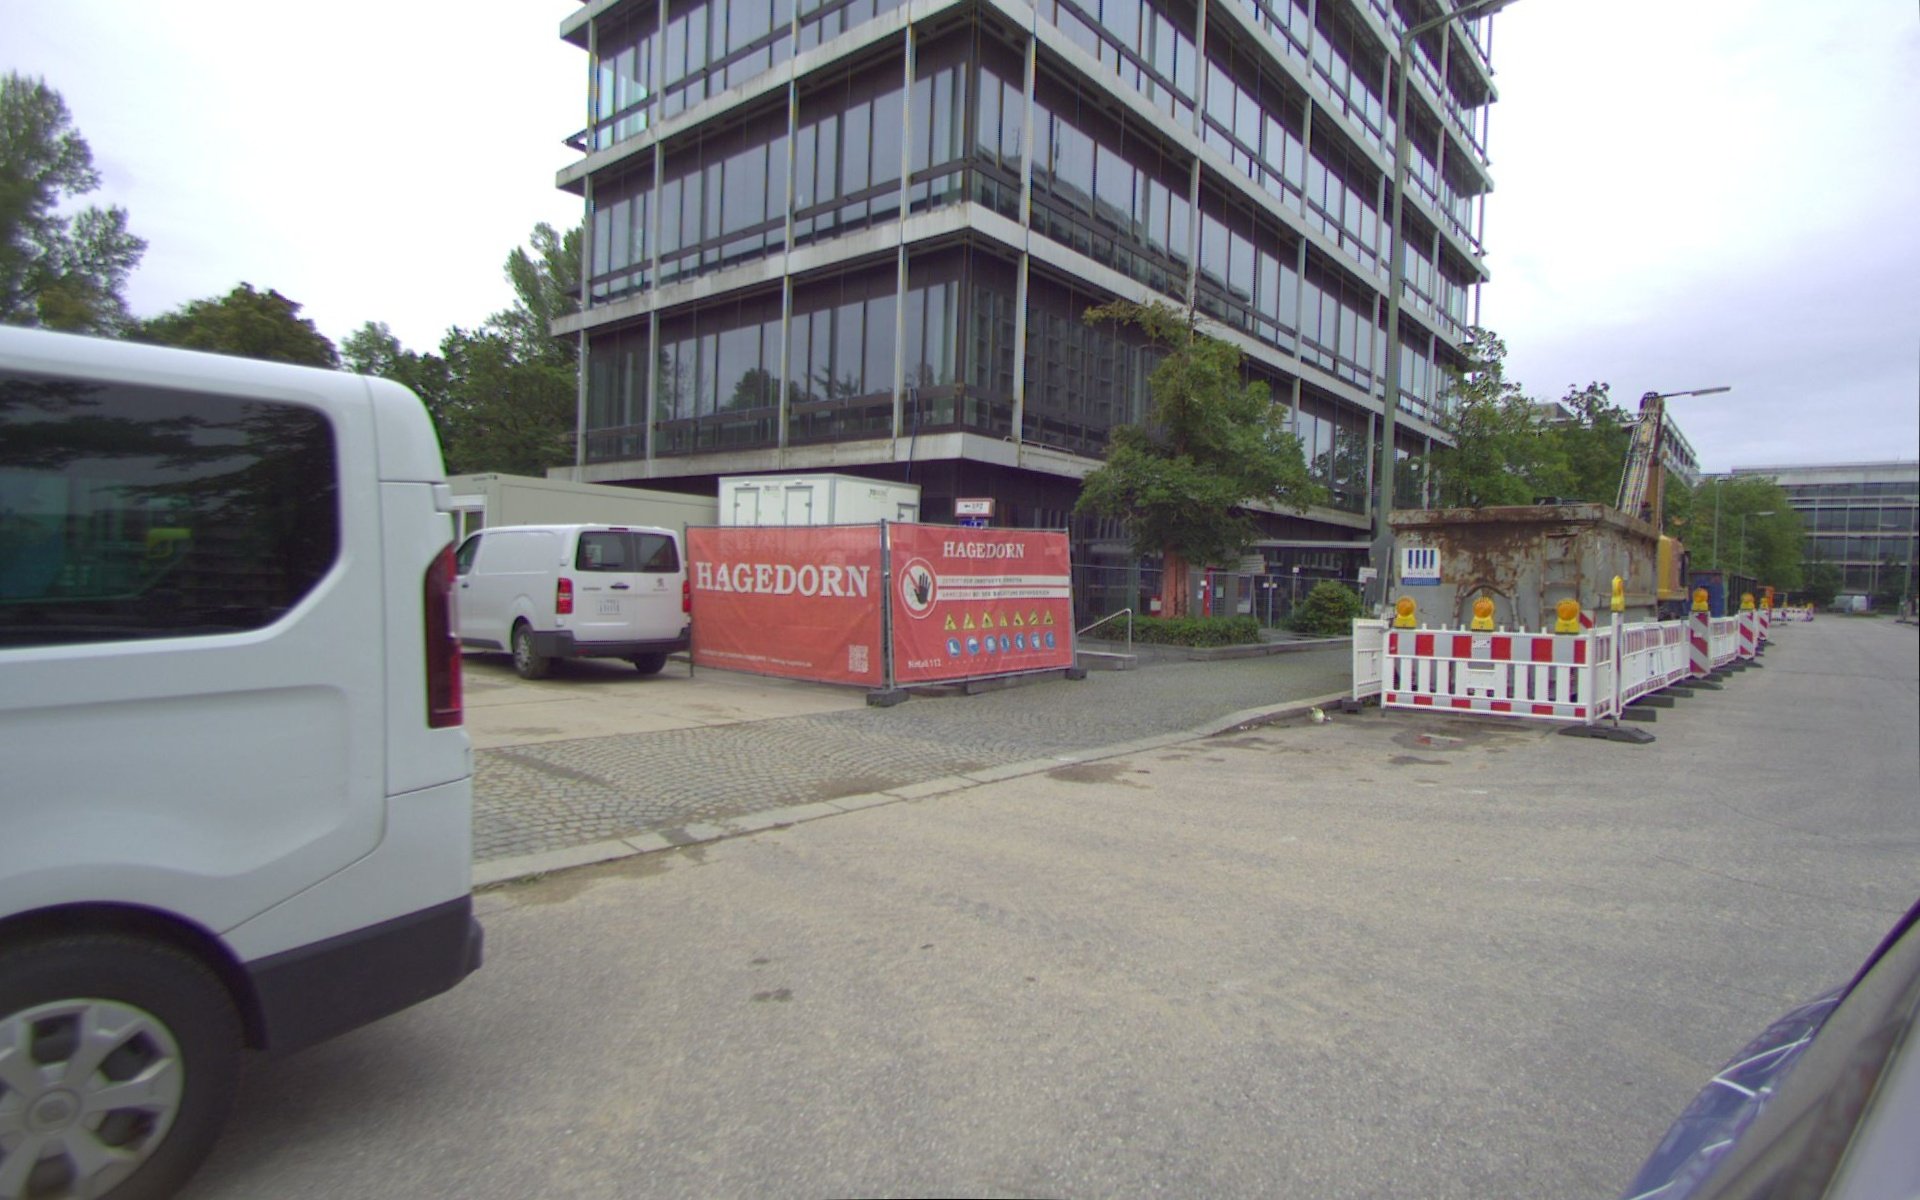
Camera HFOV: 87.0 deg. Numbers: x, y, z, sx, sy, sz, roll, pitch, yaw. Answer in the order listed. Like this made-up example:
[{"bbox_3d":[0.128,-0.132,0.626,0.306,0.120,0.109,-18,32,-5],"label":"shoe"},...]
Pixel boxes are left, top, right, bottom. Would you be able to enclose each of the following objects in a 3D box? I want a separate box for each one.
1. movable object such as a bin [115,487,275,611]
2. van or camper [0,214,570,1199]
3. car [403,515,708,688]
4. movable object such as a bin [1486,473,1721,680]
[{"bbox_3d":[-21.479,-1.381,28.338,5.061,3.140,2.759,3,1,43],"label":"movable object such as a bin"},{"bbox_3d":[-3.598,0.296,1.522,5.288,2.039,1.995,0,0,-44],"label":"van or camper"},{"bbox_3d":[-5.626,-0.058,13.730,4.759,1.945,1.969,2,1,43],"label":"car"},{"bbox_3d":[14.792,-0.531,22.845,3.238,3.762,8.877,3,2,40],"label":"movable object such as a bin"}]
